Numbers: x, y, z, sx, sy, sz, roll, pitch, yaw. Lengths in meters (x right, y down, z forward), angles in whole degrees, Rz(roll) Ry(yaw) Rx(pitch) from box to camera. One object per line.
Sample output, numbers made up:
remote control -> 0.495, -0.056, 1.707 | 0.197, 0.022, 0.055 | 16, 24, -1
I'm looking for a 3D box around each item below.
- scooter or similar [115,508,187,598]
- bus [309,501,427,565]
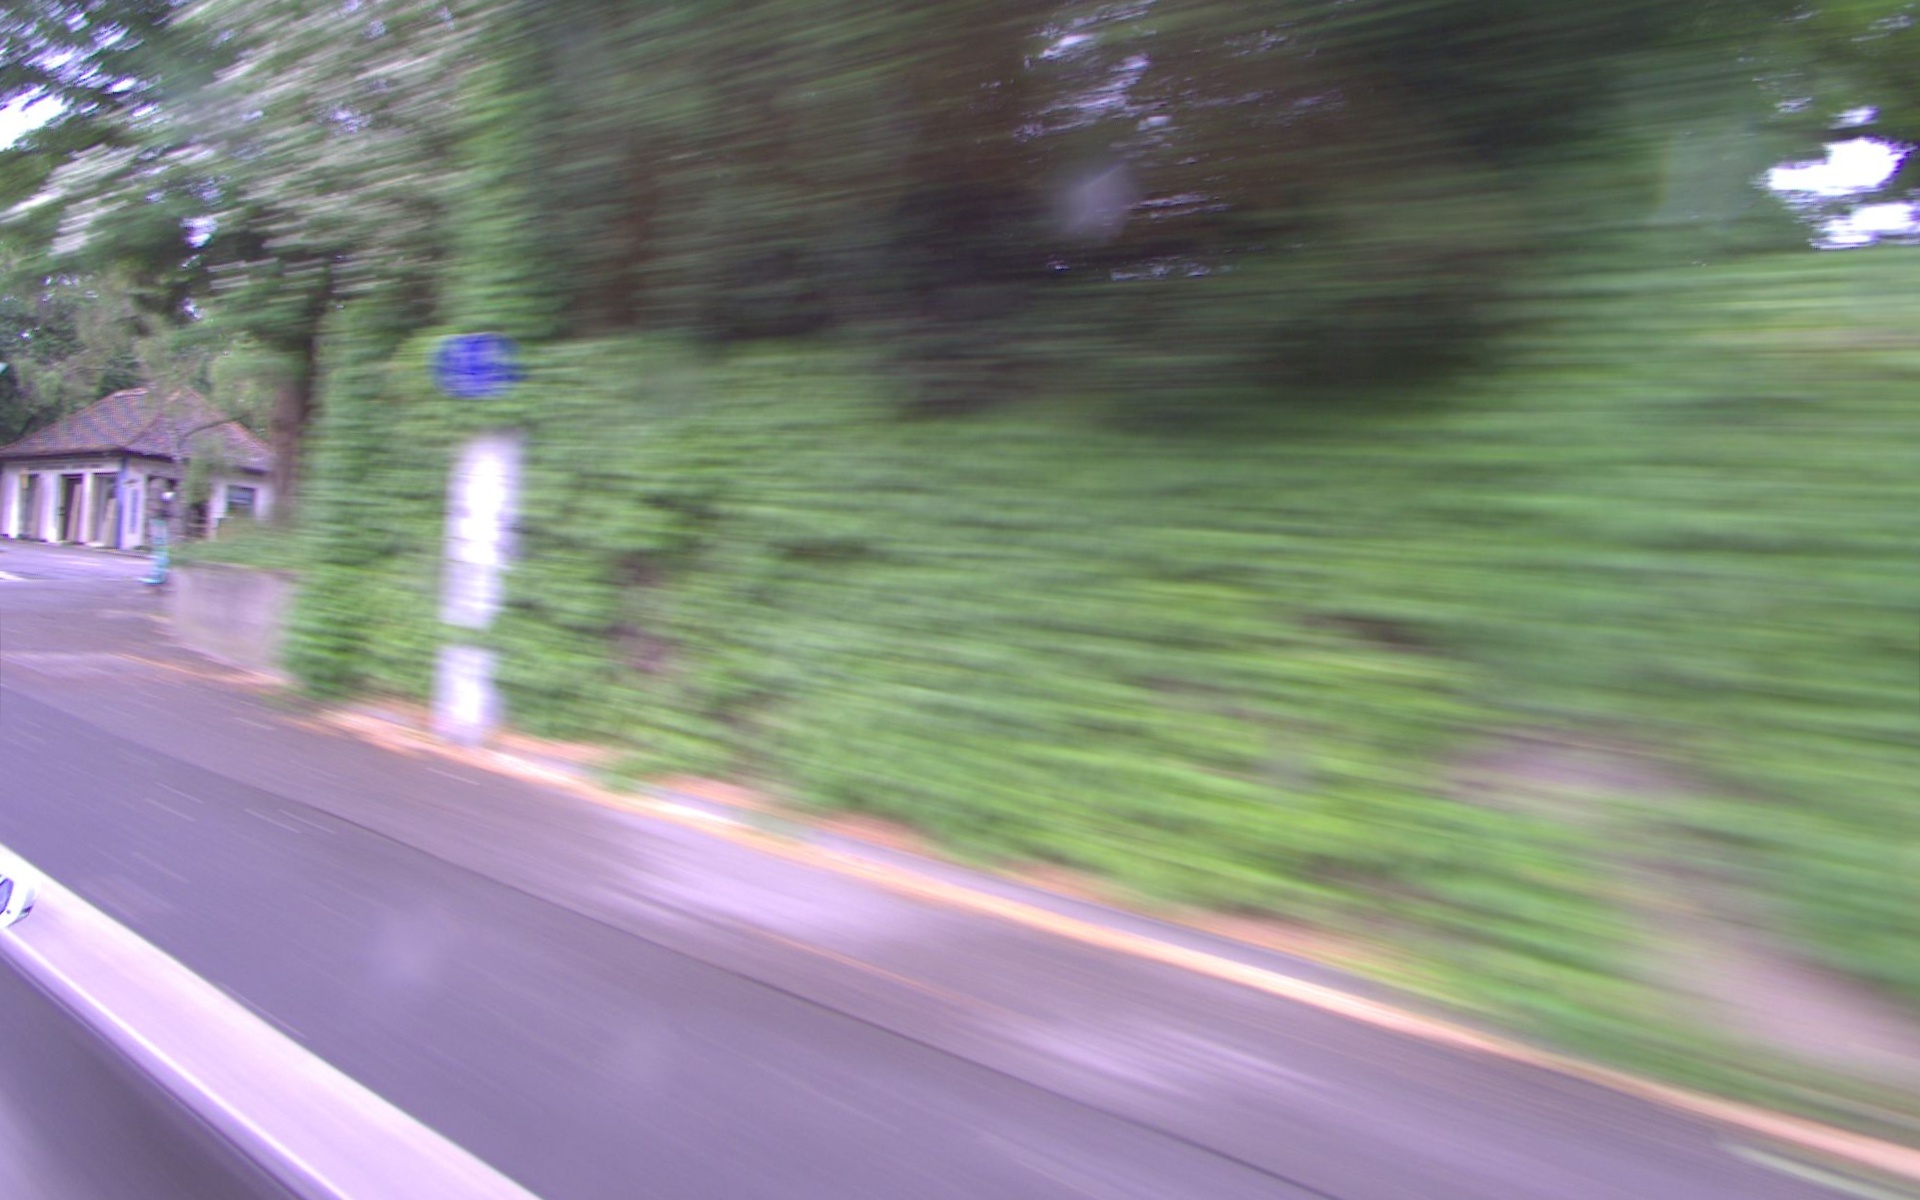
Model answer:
scooter or similar -> -12.014, -0.706, 14.933 | 1.294, 1.247, 0.513 | 6, 3, 37
bus -> -31.903, -3.629, 54.114 | 7.049, 2.734, 2.254 | 6, 0, 32
